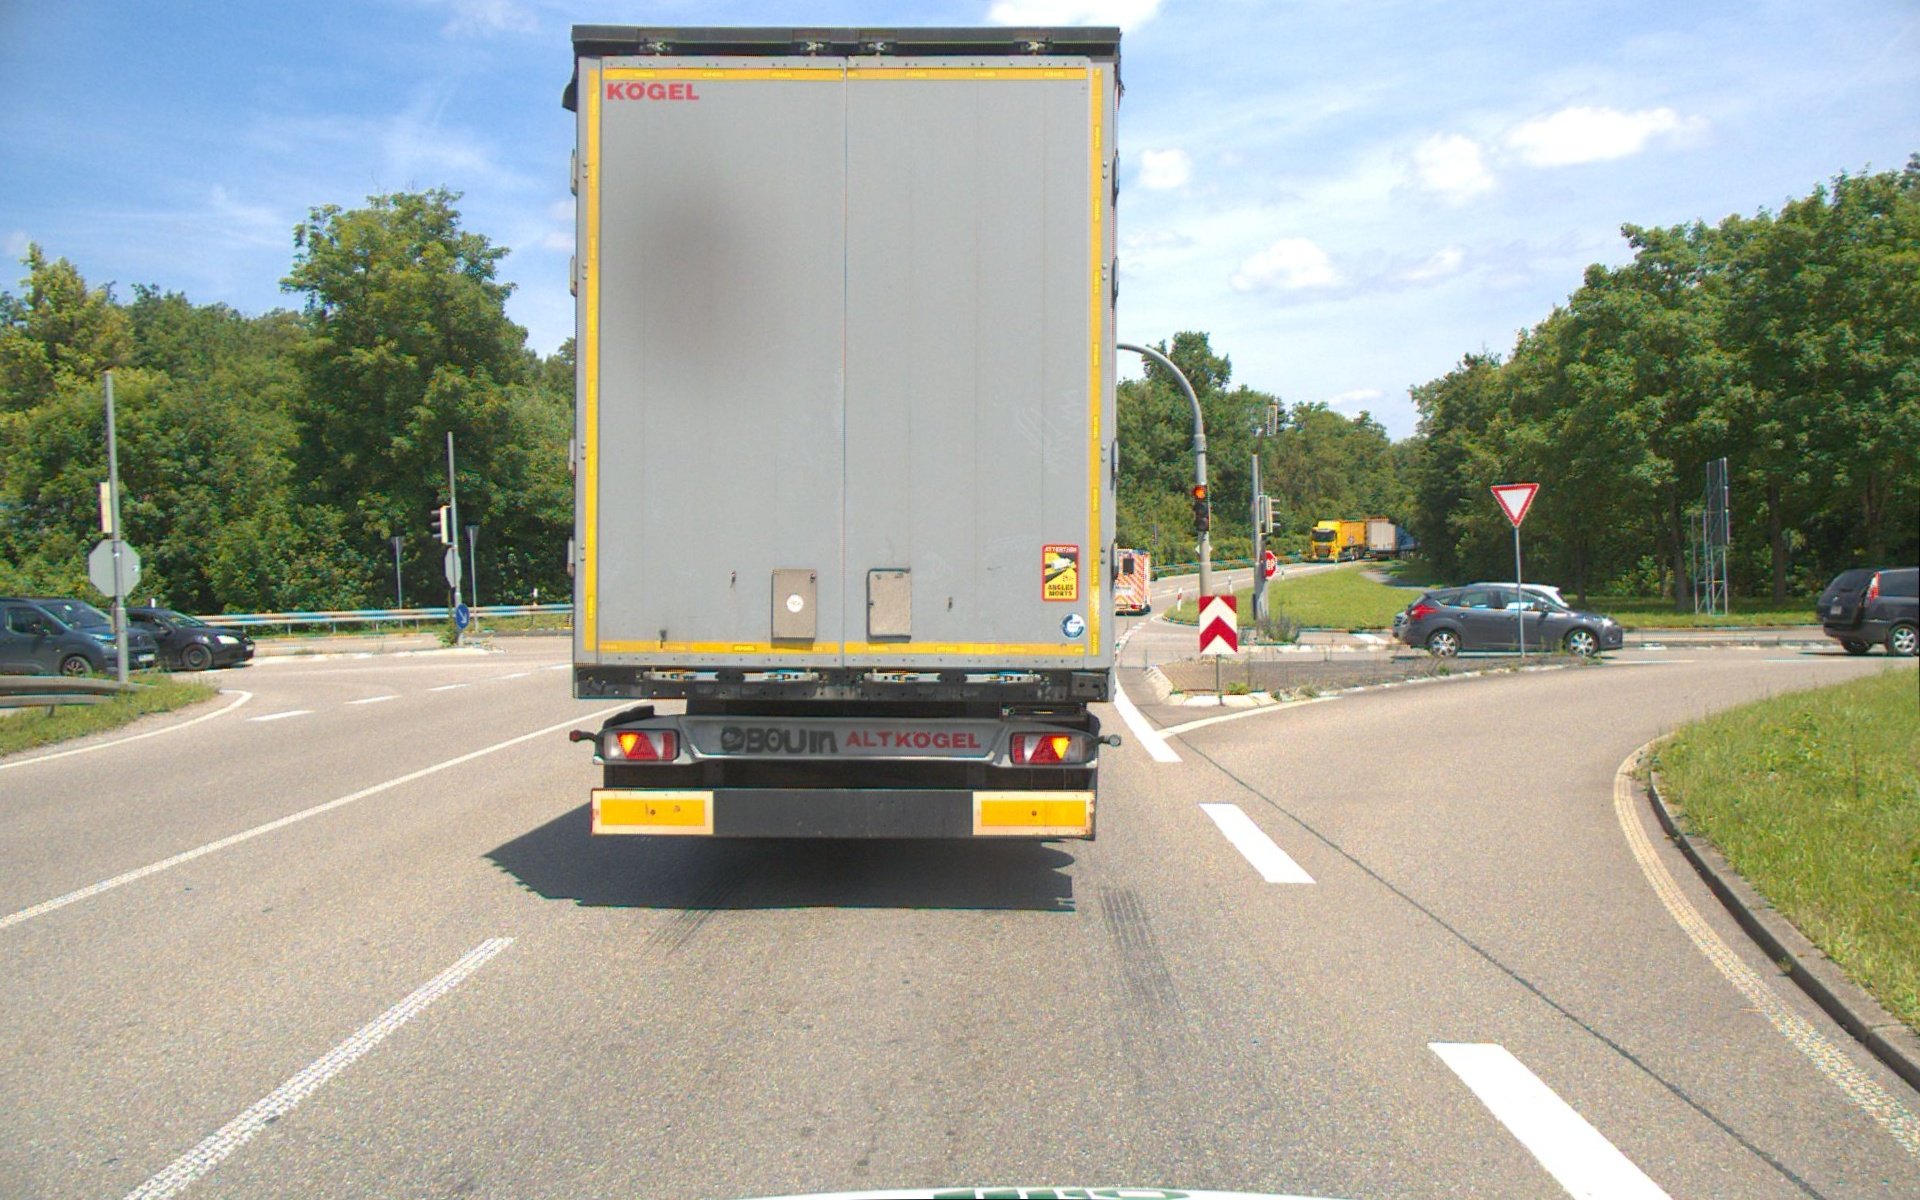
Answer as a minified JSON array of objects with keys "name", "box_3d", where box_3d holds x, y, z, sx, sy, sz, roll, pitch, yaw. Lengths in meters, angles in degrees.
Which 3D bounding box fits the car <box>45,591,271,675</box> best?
[{"name":"car","box_3d":[-17.904,0.721,37.022,4.143,1.801,2.002,-1,0,9]}]

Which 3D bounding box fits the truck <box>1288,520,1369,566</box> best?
[{"name":"truck","box_3d":[37.358,-5.737,167.396,4.916,4.438,11.747,0,1,29]}]

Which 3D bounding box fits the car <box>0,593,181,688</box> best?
[{"name":"car","box_3d":[-18.017,0.797,32.888,4.143,1.801,2.002,-1,0,9]}]

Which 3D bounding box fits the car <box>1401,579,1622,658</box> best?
[{"name":"car","box_3d":[11.127,0.382,33.653,4.154,1.517,2.001,0,-2,16]}]

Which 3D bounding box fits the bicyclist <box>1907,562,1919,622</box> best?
[{"name":"bicyclist","box_3d":[24.148,-0.195,40.887,0.985,1.474,0.795,1,-2,-3]}]

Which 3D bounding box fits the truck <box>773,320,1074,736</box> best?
[{"name":"truck","box_3d":[-0.292,-0.730,19.706,2.975,4.104,6.630,0,0,1]}]

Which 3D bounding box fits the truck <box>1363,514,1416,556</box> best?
[{"name":"truck","box_3d":[43.578,-6.491,167.692,3.116,4.099,11.737,0,1,25]}]

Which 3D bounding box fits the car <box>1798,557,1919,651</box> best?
[{"name":"car","box_3d":[19.742,0.126,33.249,4.827,1.816,1.999,1,-2,-2]}]

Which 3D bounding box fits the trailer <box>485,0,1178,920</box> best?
[{"name":"trailer","box_3d":[-0.425,-0.705,13.449,2.988,4.104,12.561,0,0,1]}]

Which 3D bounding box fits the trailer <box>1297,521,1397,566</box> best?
[{"name":"trailer","box_3d":[40.990,-5.858,174.112,4.916,4.438,20.806,0,1,29]}]

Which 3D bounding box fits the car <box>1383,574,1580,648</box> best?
[{"name":"car","box_3d":[12.885,0.289,41.106,4.334,1.749,2.001,1,-2,4]}]

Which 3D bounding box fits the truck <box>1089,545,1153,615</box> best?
[{"name":"truck","box_3d":[7.013,-0.813,71.462,2.440,2.776,6.035,0,-2,9]}]
